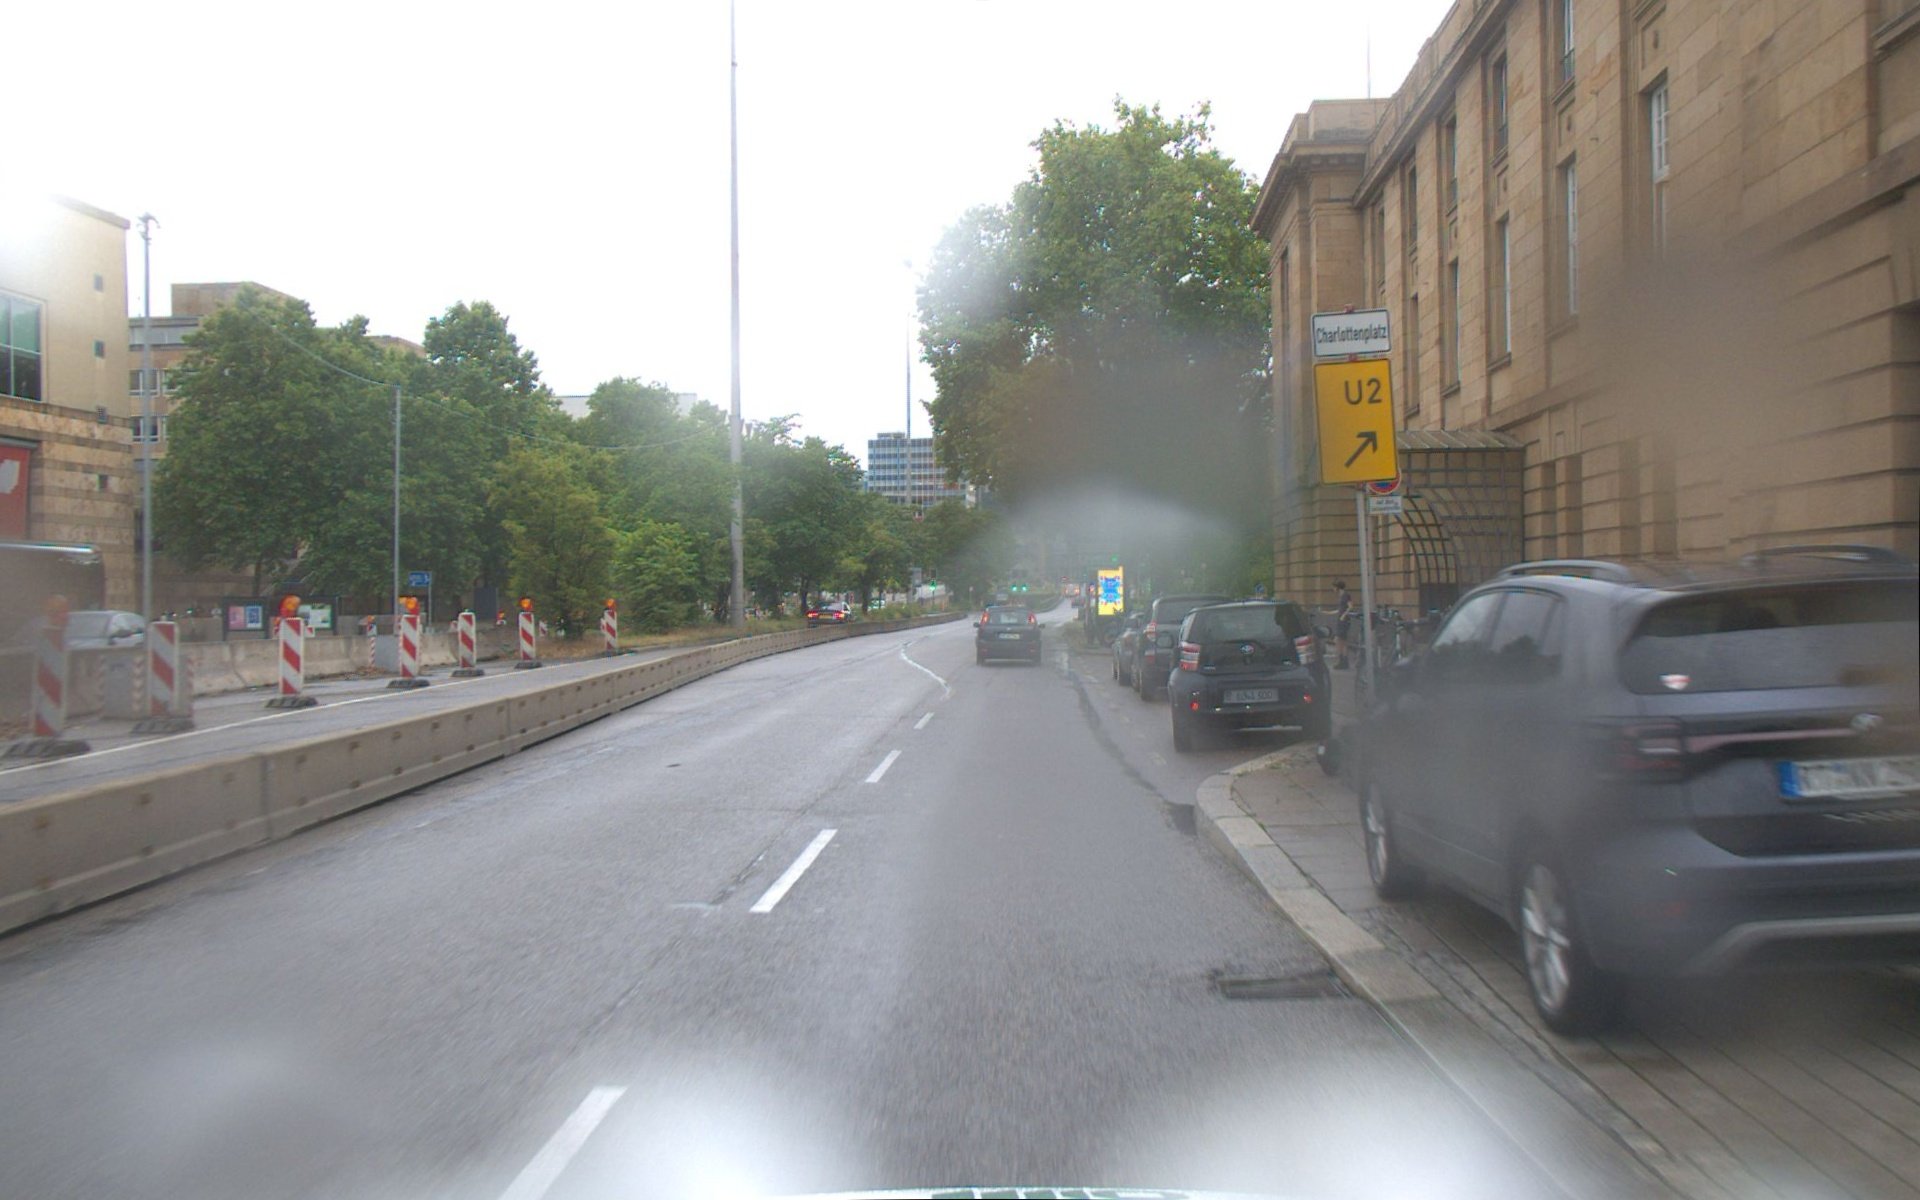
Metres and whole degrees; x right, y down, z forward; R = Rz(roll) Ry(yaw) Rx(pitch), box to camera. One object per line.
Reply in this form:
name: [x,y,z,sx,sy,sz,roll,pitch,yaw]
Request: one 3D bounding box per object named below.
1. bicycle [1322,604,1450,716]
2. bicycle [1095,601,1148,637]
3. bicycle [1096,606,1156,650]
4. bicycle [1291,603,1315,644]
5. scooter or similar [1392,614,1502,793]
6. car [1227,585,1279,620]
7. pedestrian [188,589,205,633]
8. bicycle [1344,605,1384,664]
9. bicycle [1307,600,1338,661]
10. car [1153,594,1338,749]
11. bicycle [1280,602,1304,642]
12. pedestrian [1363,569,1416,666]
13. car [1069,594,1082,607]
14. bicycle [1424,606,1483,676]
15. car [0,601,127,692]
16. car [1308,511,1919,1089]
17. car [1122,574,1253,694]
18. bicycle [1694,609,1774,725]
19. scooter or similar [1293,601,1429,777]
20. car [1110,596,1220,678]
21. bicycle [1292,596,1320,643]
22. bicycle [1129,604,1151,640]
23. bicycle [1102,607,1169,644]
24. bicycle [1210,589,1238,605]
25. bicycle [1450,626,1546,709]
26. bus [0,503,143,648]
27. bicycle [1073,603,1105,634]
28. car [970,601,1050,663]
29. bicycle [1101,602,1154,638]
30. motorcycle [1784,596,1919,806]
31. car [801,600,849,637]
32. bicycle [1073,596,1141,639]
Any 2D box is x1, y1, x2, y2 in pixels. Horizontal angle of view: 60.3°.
bicycle: [5.065,0.685,19.806,0.761,1.240,1.962,-2,0,-8]
bicycle: [5.130,0.605,52.548,1.643,1.142,0.602,0,0,5]
bicycle: [5.197,0.869,51.828,1.866,1.356,0.651,0,0,5]
bicycle: [9.286,0.631,44.815,0.345,1.099,1.790,1,0,2]
scooter or similar: [3.572,0.733,12.197,0.424,1.238,1.122,-3,-1,0]
car: [14.921,0.086,84.509,1.952,1.637,5.238,0,1,2]
pedestrian: [-36.482,0.533,79.031,0.468,2.049,0.512,-2,-1,3]
bicycle: [8.540,0.719,35.026,0.454,1.236,1.692,0,-1,1]
bicycle: [9.382,0.766,42.833,0.444,1.542,1.600,1,0,0]
car: [3.012,0.720,17.830,1.721,1.439,3.154,-3,-1,8]
bicycle: [9.326,0.611,46.434,0.345,1.099,1.790,-2,-1,2]
pedestrian: [8.339,0.336,32.133,0.778,1.808,0.642,-3,-1,3]
car: [16.186,0.072,231.355,1.702,1.802,4.002,-2,-1,5]
bicycle: [7.651,0.623,25.693,0.571,1.056,1.760,0,-1,6]
car: [-15.173,0.693,26.803,1.742,1.285,4.754,1,0,-11]
car: [2.780,0.555,6.962,1.832,1.647,4.406,-1,0,2]
car: [3.676,0.534,27.339,1.951,1.812,4.191,0,0,5]
bicycle: [7.529,0.625,16.137,0.409,1.068,1.773,0,-1,15]
scooter or similar: [3.335,0.707,13.702,1.320,1.392,0.428,0,-1,-42]
car: [3.946,0.696,32.358,1.891,1.504,3.704,0,0,3]
bicycle: [9.523,0.531,45.544,0.444,1.273,1.600,1,0,2]
bicycle: [6.319,0.780,58.125,0.592,1.218,1.906,-2,-1,10]
bicycle: [5.266,0.763,49.640,1.944,1.078,0.759,0,0,0]
bicycle: [20.505,-0.236,128.374,1.995,1.194,0.959,-1,1,-6]
bicycle: [7.358,0.905,22.707,0.697,1.070,1.740,0,-1,-2]
bus: [-27.296,-0.679,43.603,2.744,3.877,14.608,1,0,7]
bicycle: [4.164,0.589,53.461,0.655,0.984,1.638,0,0,18]
car: [1.222,0.802,41.774,1.806,1.441,3.838,-2,-1,-1]
bicycle: [5.180,0.610,51.217,1.643,1.109,0.651,0,0,5]
motorcycle: [6.551,0.655,11.642,0.653,1.349,2.136,0,-1,7]
car: [-5.777,0.783,71.120,1.719,1.477,3.999,2,0,-1]
bicycle: [4.673,0.555,52.535,2.144,1.360,0.651,0,0,5]
